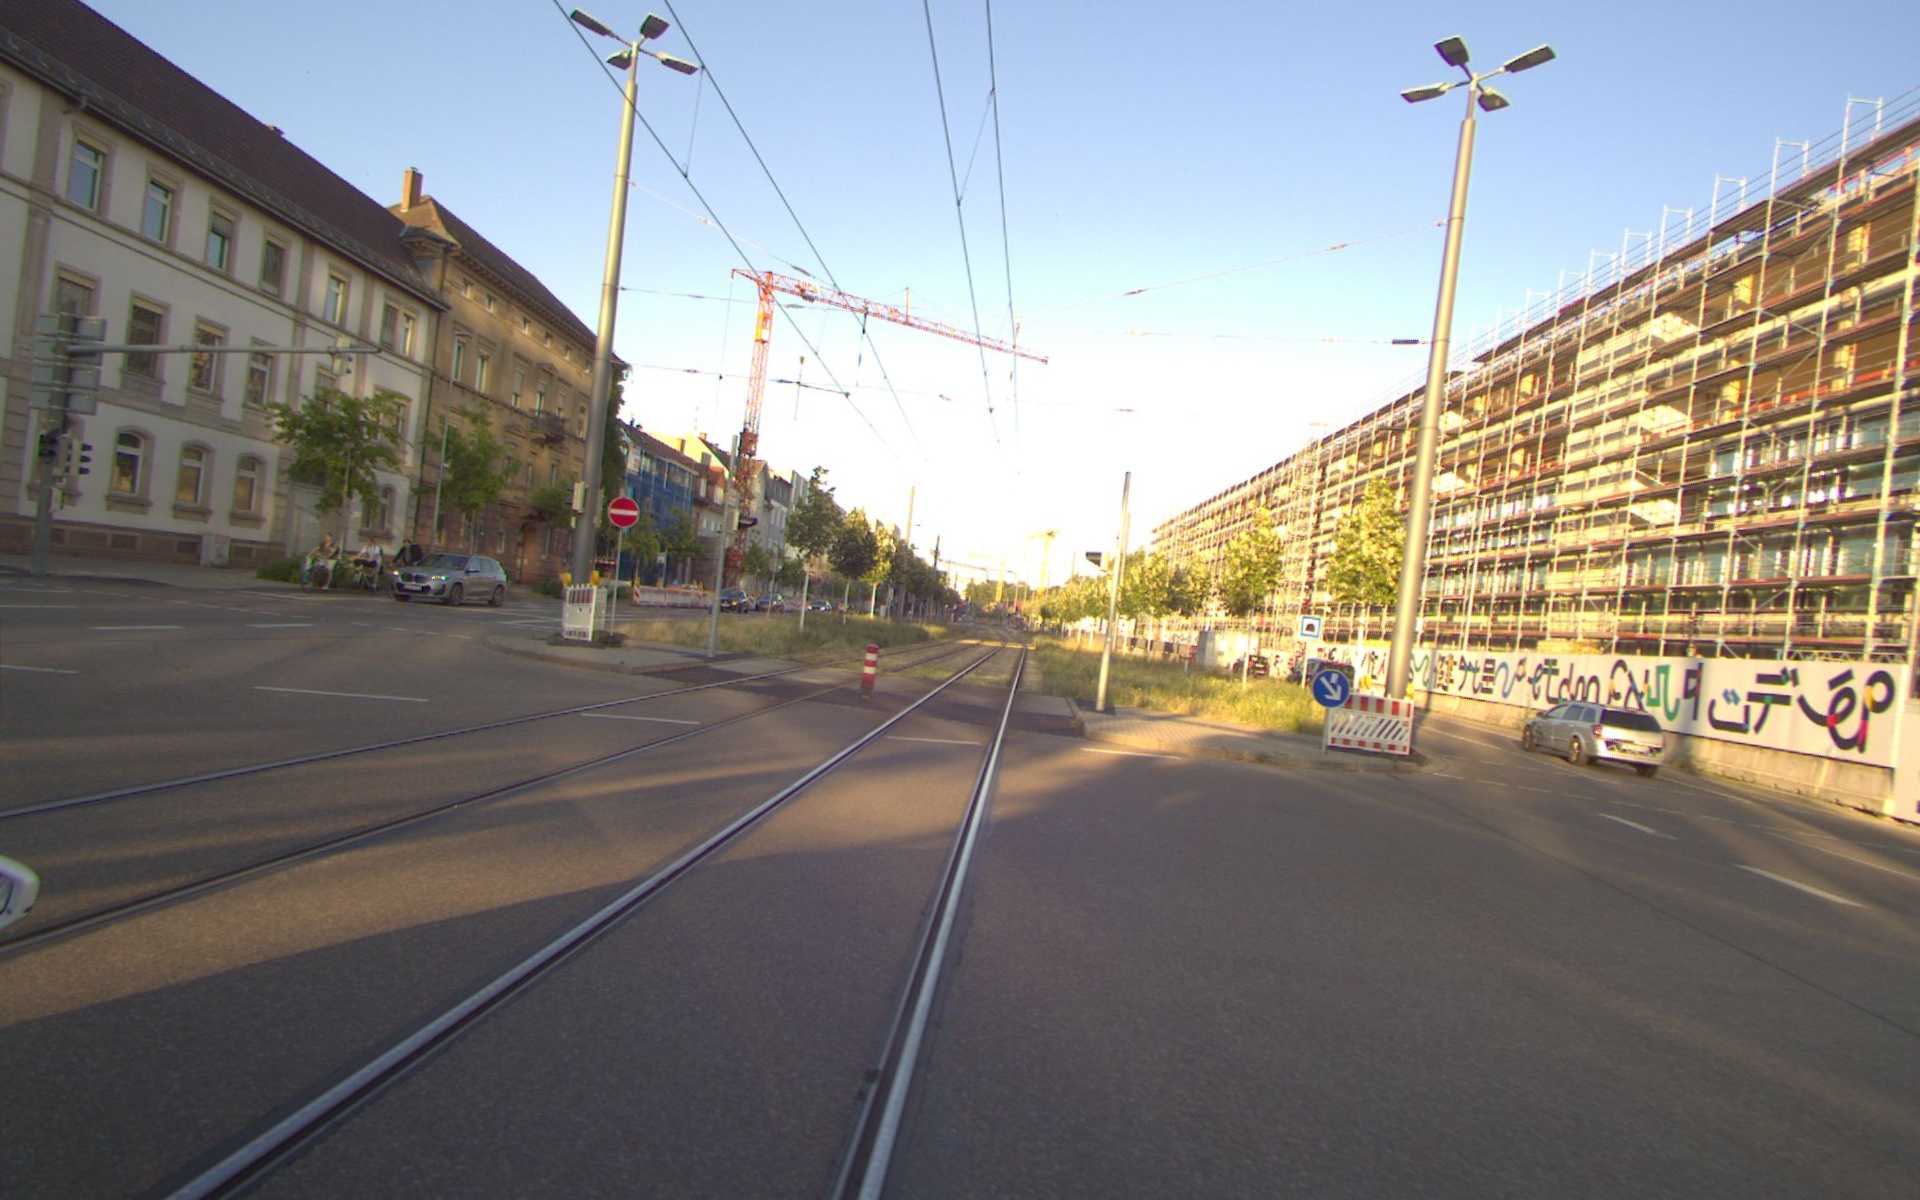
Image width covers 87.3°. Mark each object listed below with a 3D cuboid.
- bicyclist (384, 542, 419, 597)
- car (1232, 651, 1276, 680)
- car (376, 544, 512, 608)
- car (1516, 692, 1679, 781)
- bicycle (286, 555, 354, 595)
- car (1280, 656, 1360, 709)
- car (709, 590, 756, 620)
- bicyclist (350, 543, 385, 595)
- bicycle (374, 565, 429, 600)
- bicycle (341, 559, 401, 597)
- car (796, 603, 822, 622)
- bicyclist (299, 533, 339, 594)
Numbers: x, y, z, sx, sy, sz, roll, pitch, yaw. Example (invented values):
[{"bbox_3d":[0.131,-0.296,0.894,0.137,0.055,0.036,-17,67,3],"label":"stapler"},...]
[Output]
[{"bbox_3d":[-17.915,-0.968,32.289,0.693,1.724,0.767,3,2,-5],"label":"bicyclist"},{"bbox_3d":[20.223,4.451,69.305,1.962,1.593,4.002,7,-1,5],"label":"car"},{"bbox_3d":[-16.009,-0.684,31.464,1.800,1.617,4.261,6,-1,2],"label":"car"},{"bbox_3d":[15.035,3.166,24.006,1.637,1.472,4.071,8,0,9],"label":"car"},{"bbox_3d":[-19.204,-0.735,30.235,0.519,1.064,2.049,7,0,5],"label":"bicycle"},{"bbox_3d":[13.830,3.142,38.907,1.753,1.535,4.071,9,0,5],"label":"car"},{"bbox_3d":[-14.176,0.340,62.870,1.671,1.617,4.261,6,-1,2],"label":"car"},{"bbox_3d":[-19.034,-0.979,32.320,0.503,1.567,0.692,8,0,4],"label":"bicyclist"},{"bbox_3d":[-17.943,-0.550,32.354,0.708,1.065,2.042,4,0,-5],"label":"bicycle"},{"bbox_3d":[-19.061,-0.690,32.593,0.508,1.064,2.044,8,0,4],"label":"bicycle"},{"bbox_3d":[-14.454,1.185,96.559,1.671,1.617,3.891,6,-1,2],"label":"car"},{"bbox_3d":[-19.169,-1.081,30.097,0.500,1.722,0.768,6,1,4],"label":"bicyclist"}]
